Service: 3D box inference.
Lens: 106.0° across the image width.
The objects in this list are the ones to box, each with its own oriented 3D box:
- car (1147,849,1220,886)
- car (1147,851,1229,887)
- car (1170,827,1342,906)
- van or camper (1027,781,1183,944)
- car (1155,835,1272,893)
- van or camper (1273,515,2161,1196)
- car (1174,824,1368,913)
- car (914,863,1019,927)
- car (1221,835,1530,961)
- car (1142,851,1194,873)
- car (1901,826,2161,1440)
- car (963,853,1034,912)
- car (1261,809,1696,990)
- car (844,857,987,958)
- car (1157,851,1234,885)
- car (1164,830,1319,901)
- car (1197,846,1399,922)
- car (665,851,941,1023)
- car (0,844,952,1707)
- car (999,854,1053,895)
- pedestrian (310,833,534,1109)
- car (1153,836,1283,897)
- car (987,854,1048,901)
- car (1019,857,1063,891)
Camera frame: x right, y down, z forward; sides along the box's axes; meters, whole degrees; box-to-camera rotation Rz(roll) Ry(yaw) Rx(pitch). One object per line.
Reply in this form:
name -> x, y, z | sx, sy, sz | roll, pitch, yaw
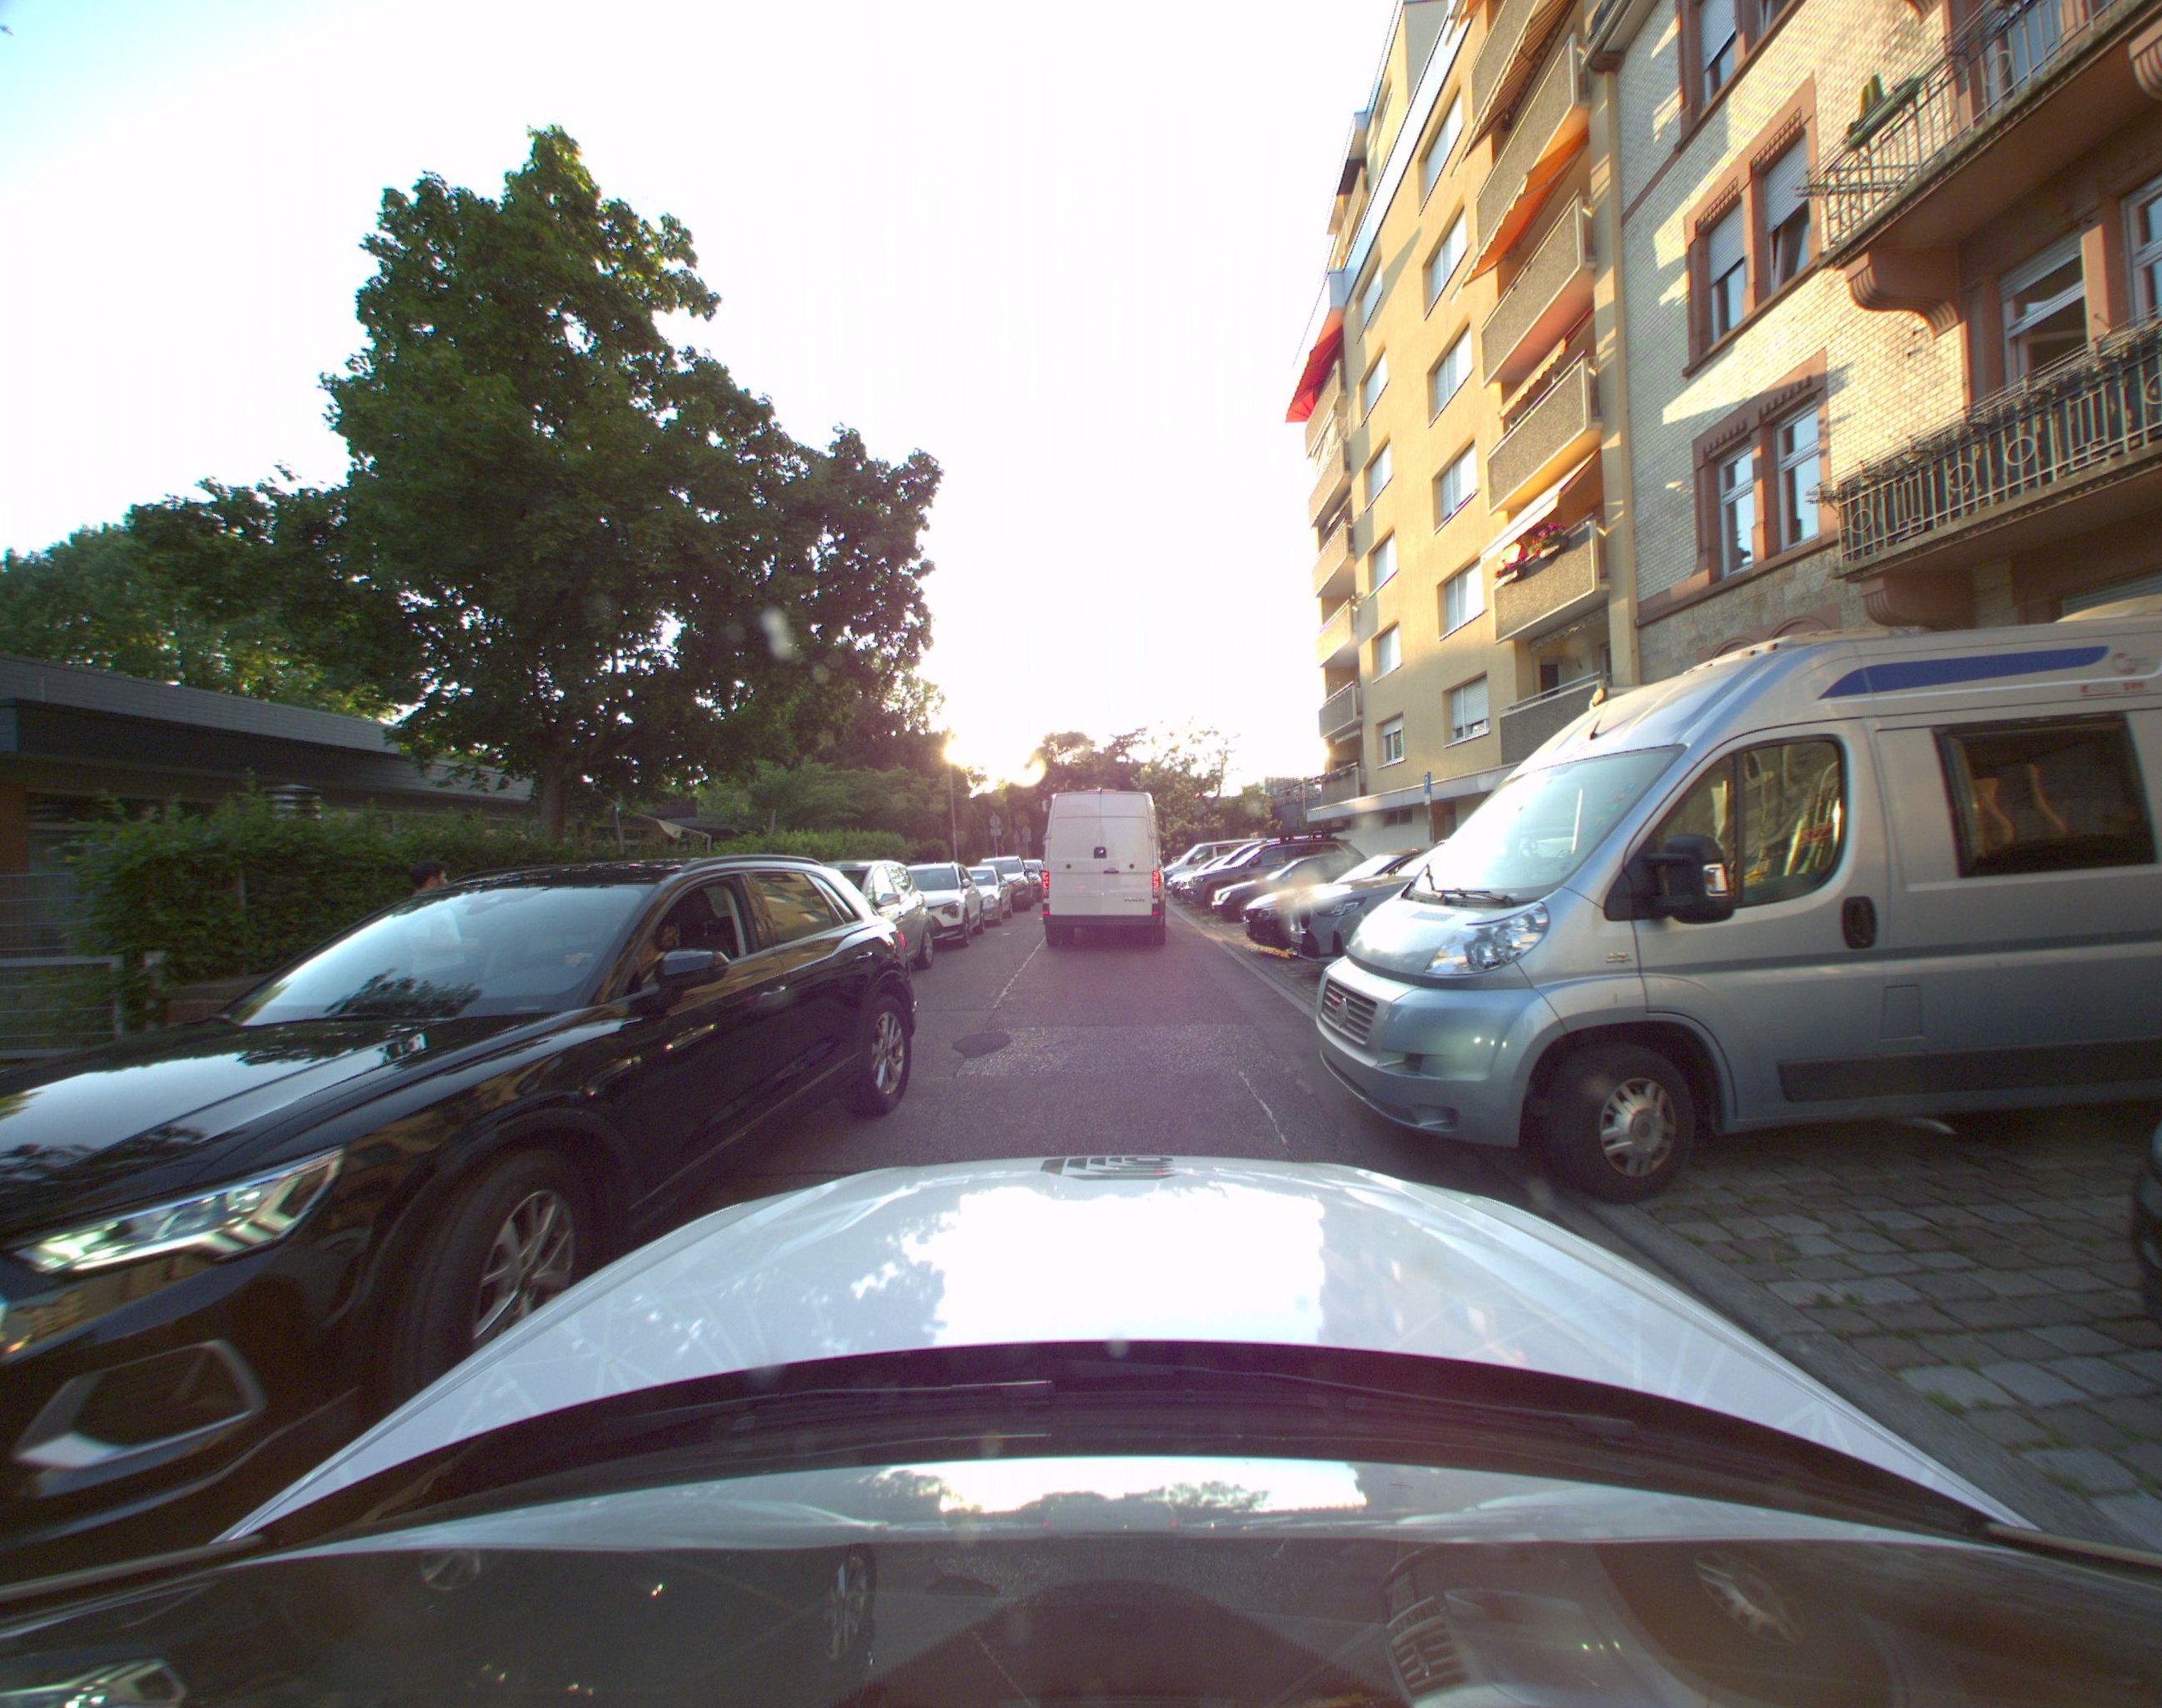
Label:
car -> 5.860, 0.781, 46.896 | 3.970, 2.013, 2.002 | -1, 0, 3
car -> 5.389, 0.739, 41.543 | 3.971, 1.728, 2.001 | -1, 0, 2
car -> 5.143, 0.360, 24.383 | 4.691, 2.145, 2.000 | -1, 0, 0
van or camper -> 0.615, 0.144, 15.803 | 2.442, 2.547, 6.091 | 0, 0, 5
car -> 5.401, 0.405, 33.673 | 4.480, 2.230, 2.032 | -1, 0, 0
van or camper -> 4.261, -0.023, 4.447 | 5.909, 2.770, 2.110 | -1, 0, 0
car -> 4.936, 0.358, 21.685 | 4.691, 2.145, 2.000 | -1, 0, 0
car -> -2.780, 0.957, 20.692 | 1.986, 1.398, 4.001 | -1, 0, 1
car -> 4.356, 0.618, 12.457 | 3.978, 1.453, 1.833 | -5, 0, -3
car -> 7.088, 0.646, 66.838 | 3.977, 1.618, 1.998 | -1, 0, -2
car -> 4.536, 0.538, 1.572 | 3.919, 1.486, 1.788 | -5, -2, 2
car -> -2.527, 0.833, 25.839 | 1.989, 1.662, 3.996 | -1, 0, -2
car -> 4.649, 0.484, 9.895 | 4.427, 1.728, 1.769 | -3, 0, -5
car -> -2.975, 0.885, 15.521 | 1.851, 1.555, 4.097 | -4, 0, -1
car -> 6.196, 0.738, 44.568 | 3.971, 1.728, 2.001 | -1, 0, 2
car -> 5.202, 0.363, 26.810 | 4.691, 2.145, 2.000 | -1, 0, 0
car -> 4.977, 0.675, 19.056 | 4.222, 1.425, 1.719 | -4, 0, 0
car -> -3.185, 0.850, 10.293 | 1.775, 1.631, 4.004 | -4, 0, 4
car -> -2.218, 0.808, 3.771 | 1.794, 1.569, 4.577 | -3, 0, 9
car -> -2.322, 0.844, 35.360 | 1.987, 1.618, 3.999 | -1, 0, 0
pedestrian -> -4.694, 0.786, 5.867 | 0.935, 1.830, 0.787 | -1, -1, 0
car -> 5.216, 0.467, 31.490 | 4.691, 2.145, 2.000 | -1, 0, 0
car -> -2.341, 0.837, 31.046 | 1.987, 1.618, 3.999 | -1, 0, 0
car -> -1.980, 0.961, 41.075 | 1.987, 1.618, 3.999 | -1, 0, 0
